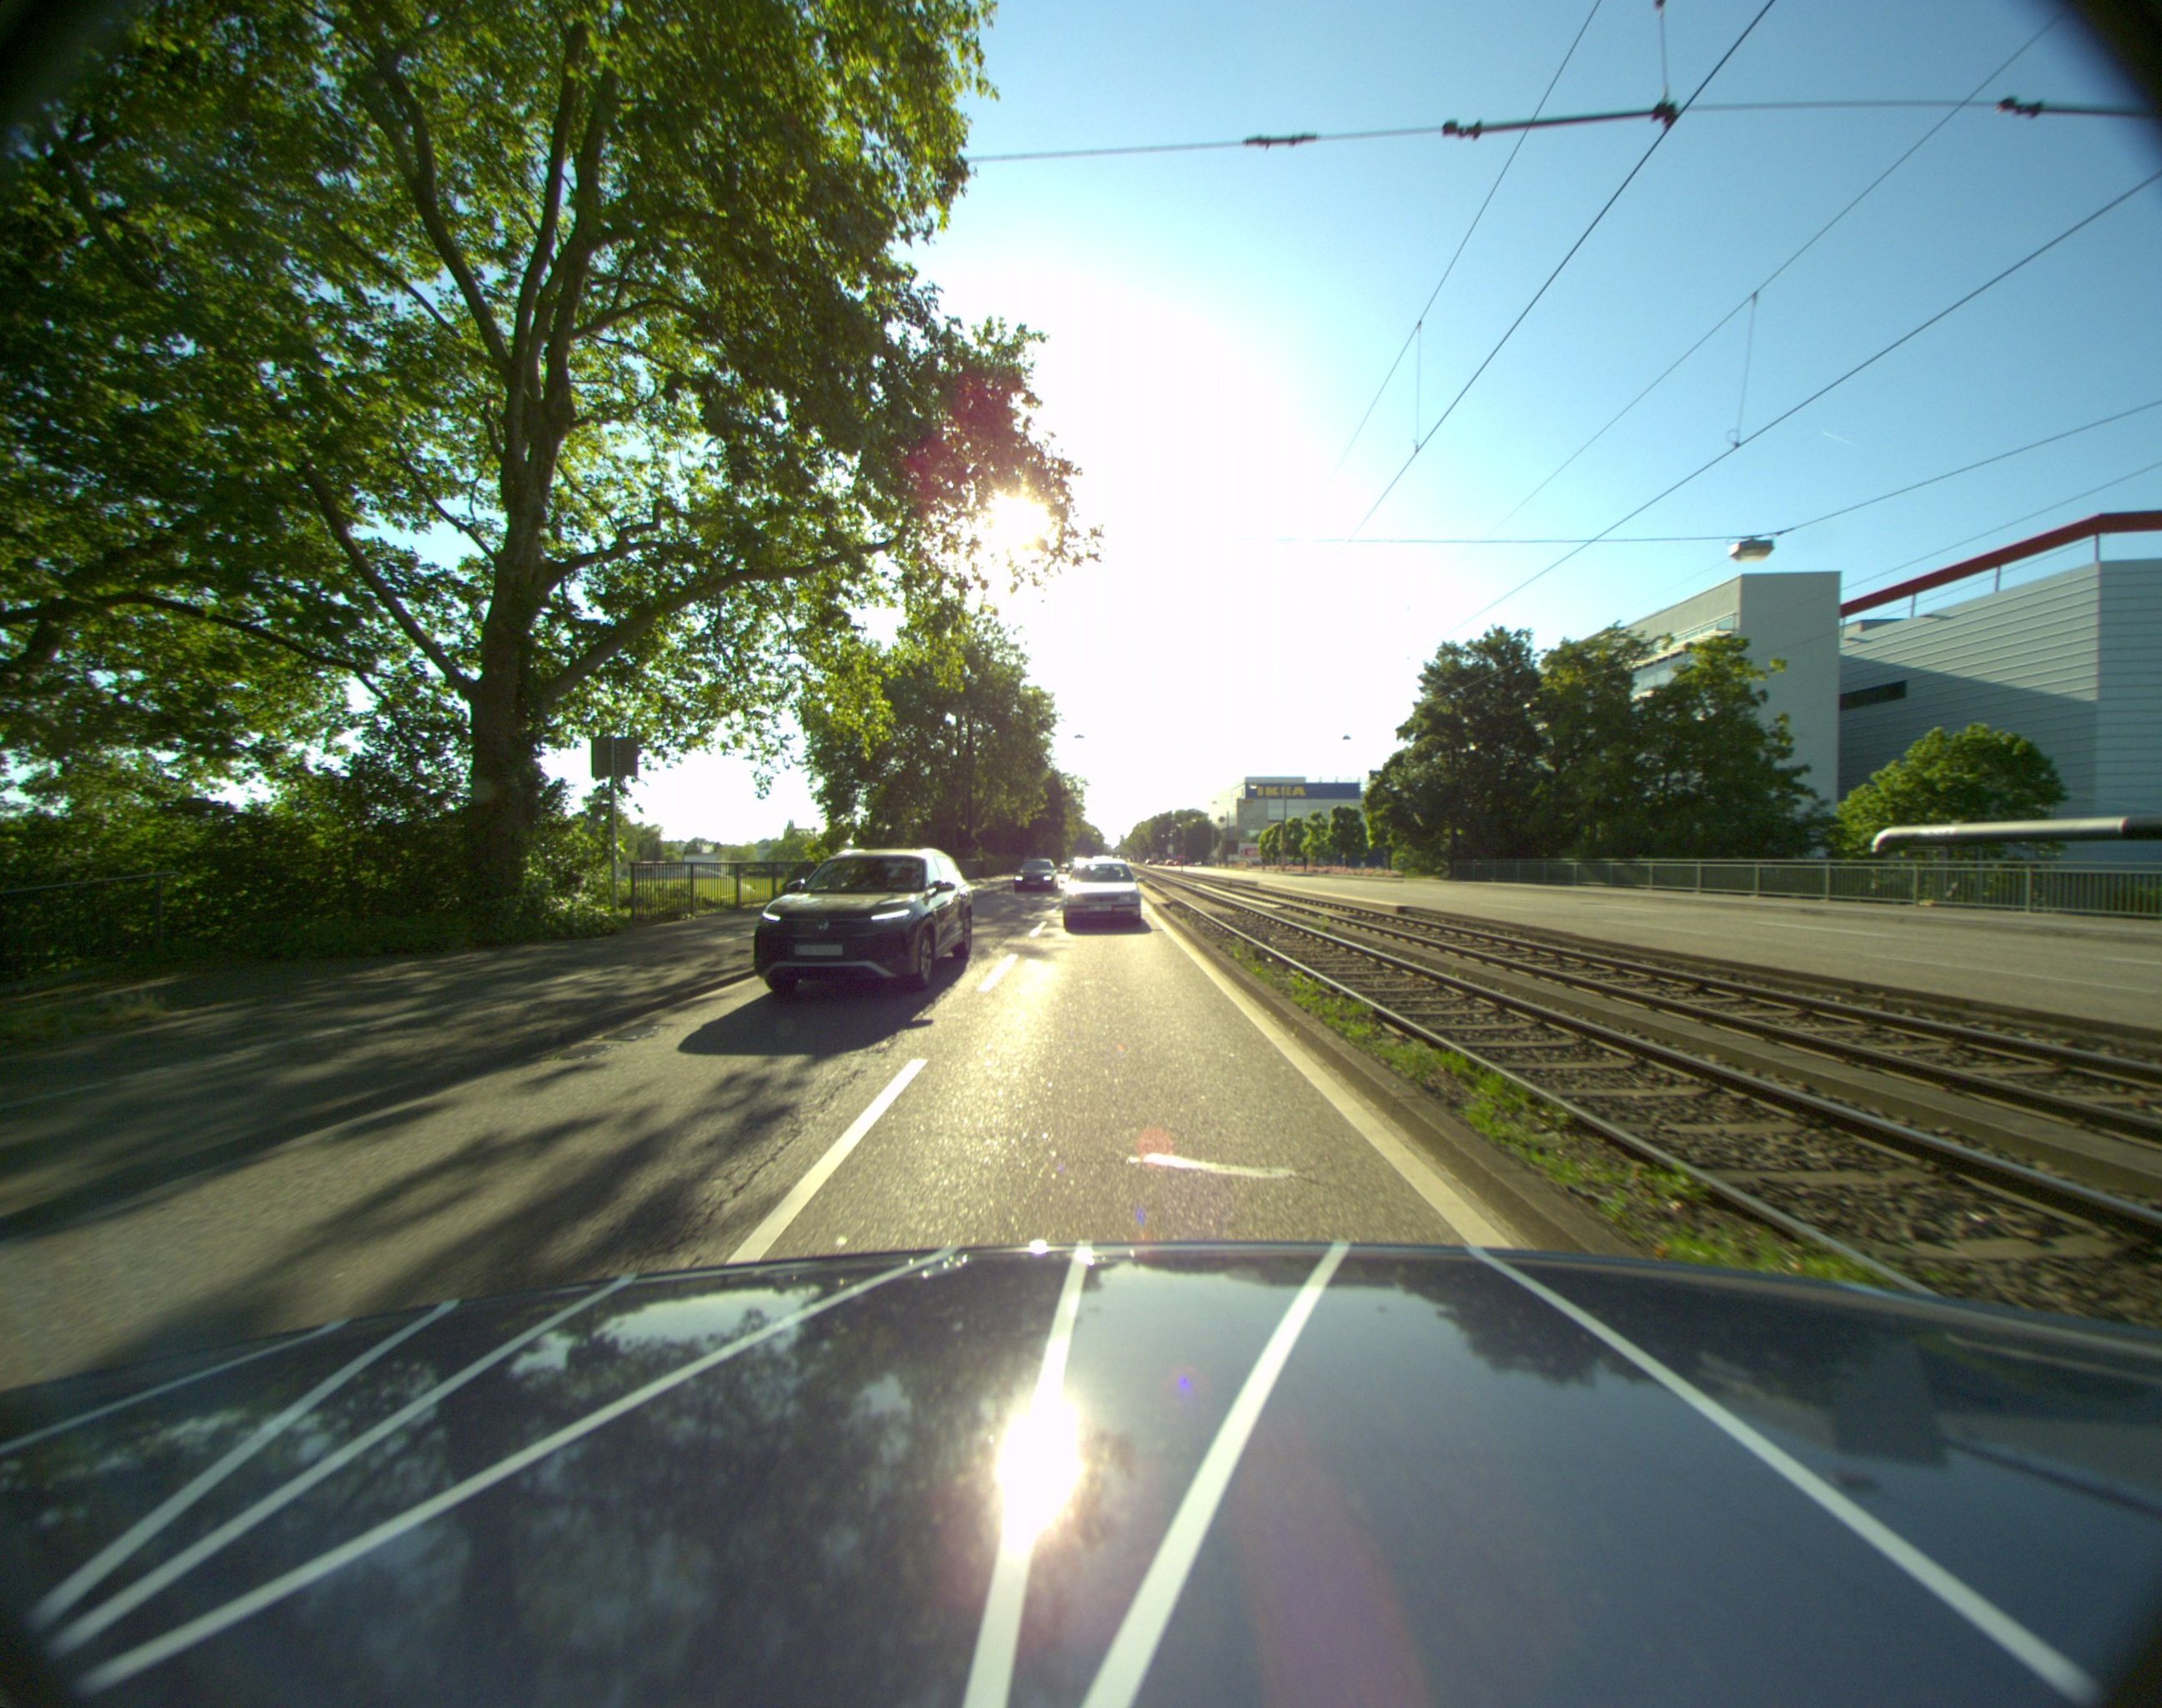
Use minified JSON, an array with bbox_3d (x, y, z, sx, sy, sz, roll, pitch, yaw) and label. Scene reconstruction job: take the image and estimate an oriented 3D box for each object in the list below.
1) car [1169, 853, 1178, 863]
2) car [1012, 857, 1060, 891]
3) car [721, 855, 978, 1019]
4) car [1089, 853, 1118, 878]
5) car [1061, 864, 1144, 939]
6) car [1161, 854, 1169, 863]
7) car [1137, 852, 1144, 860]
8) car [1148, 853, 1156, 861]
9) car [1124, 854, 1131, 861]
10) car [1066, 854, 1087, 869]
[{"bbox_3d":[21.881,0.890,179.043,1.997,2.281,4.002,-2,0,7],"label":"car"},{"bbox_3d":[-2.009,0.888,35.195,1.874,1.405,4.001,-1,1,1],"label":"car"},{"bbox_3d":[-2.674,0.859,9.981,1.881,1.591,4.416,-1,1,2],"label":"car"},{"bbox_3d":[1.571,0.776,52.478,1.881,1.591,4.416,-1,1,2],"label":"car"},{"bbox_3d":[0.479,1.003,17.748,1.695,1.437,4.001,-1,1,1],"label":"car"},{"bbox_3d":[23.409,1.293,211.995,1.997,2.281,4.002,-2,0,7],"label":"car"},{"bbox_3d":[18.065,0.644,231.583,1.997,2.281,4.002,-2,0,7],"label":"car"},{"bbox_3d":[19.426,0.845,208.866,1.997,2.281,4.002,-2,0,7],"label":"car"},{"bbox_3d":[14.221,1.104,231.942,1.997,2.281,4.002,0,0,7],"label":"car"},{"bbox_3d":[-0.403,0.728,75.973,1.881,1.449,4.416,-1,1,2],"label":"car"}]
